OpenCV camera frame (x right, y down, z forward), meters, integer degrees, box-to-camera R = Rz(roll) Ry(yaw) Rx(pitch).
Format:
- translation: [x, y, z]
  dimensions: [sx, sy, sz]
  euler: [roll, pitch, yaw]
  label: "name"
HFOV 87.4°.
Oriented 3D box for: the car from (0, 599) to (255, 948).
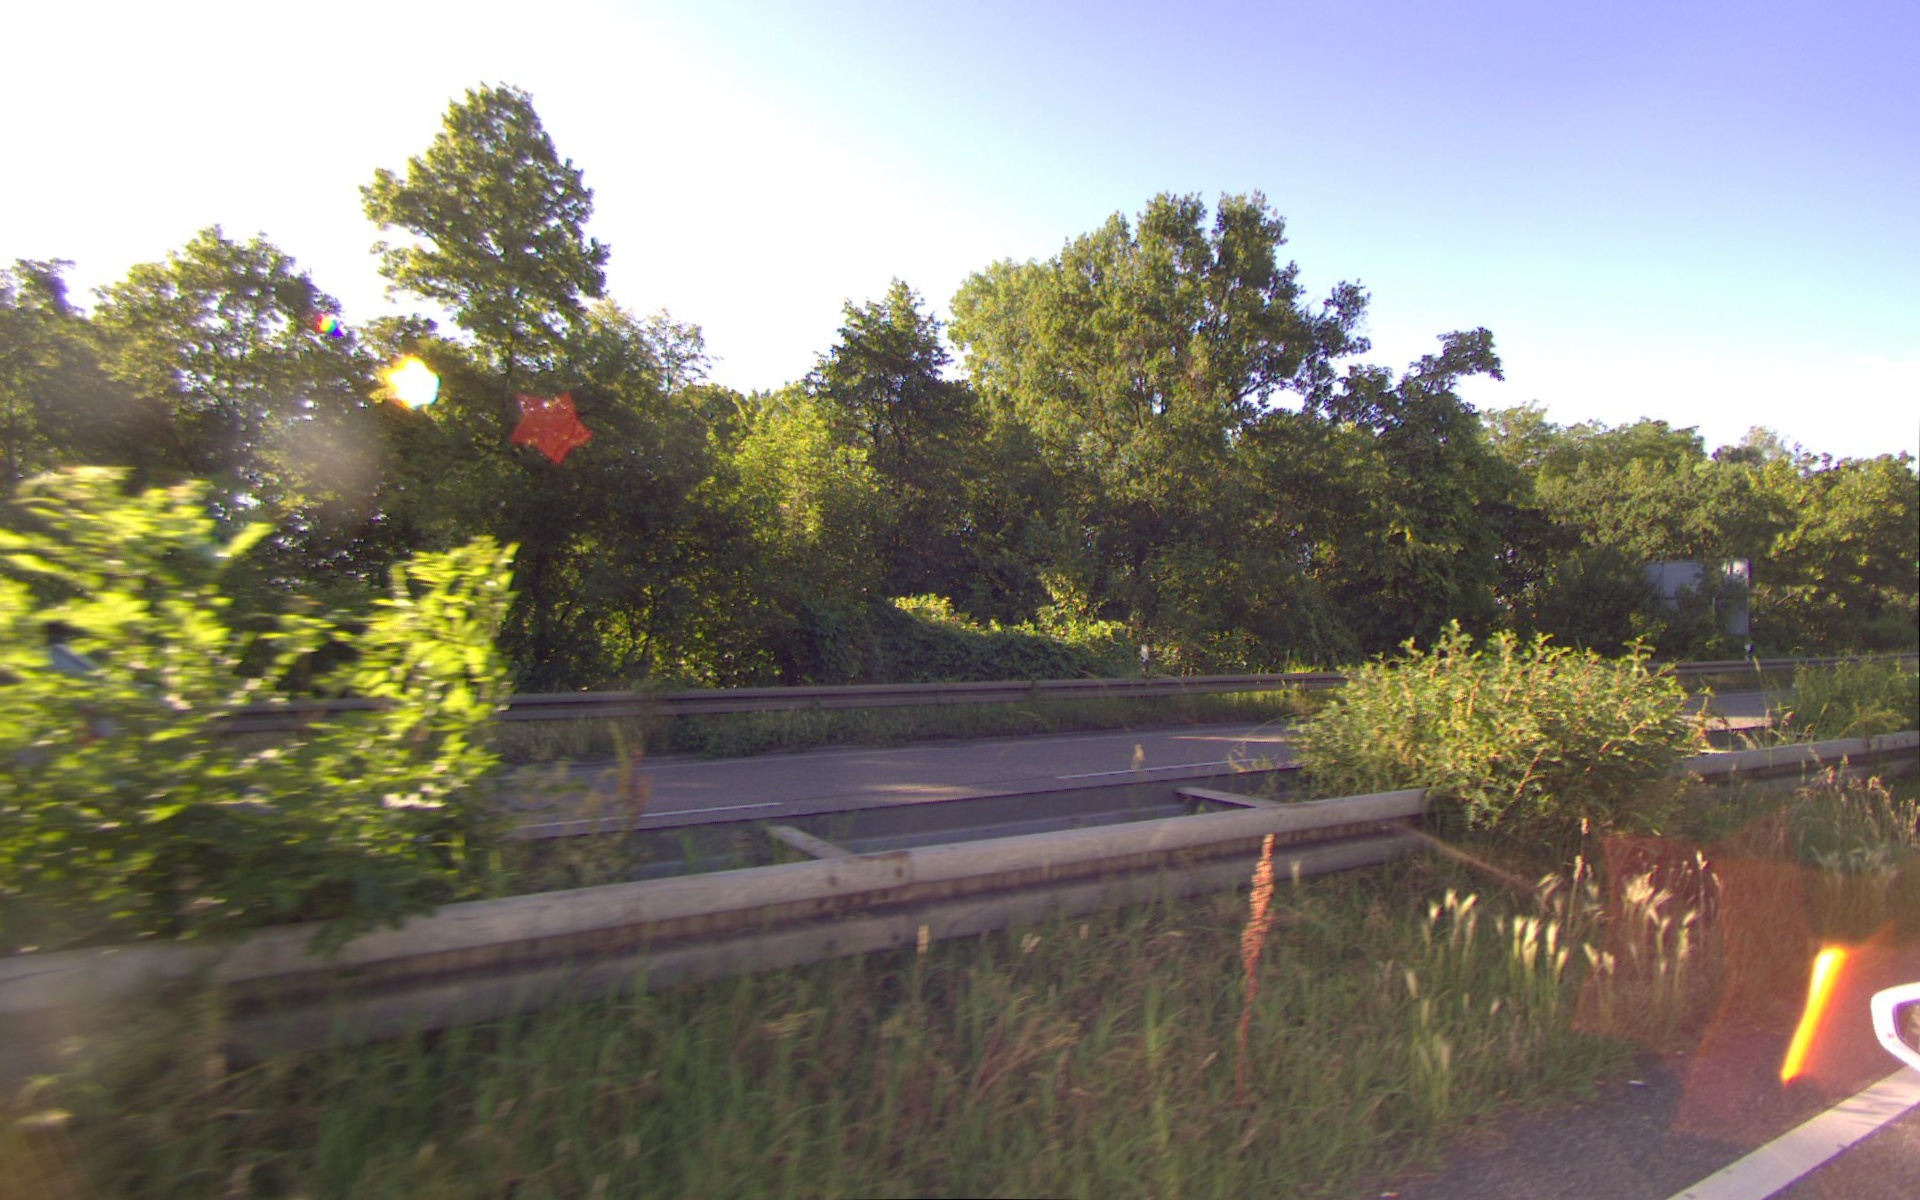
- translation: [-5.914, 0.795, 4.669]
  dimensions: [4.170, 1.590, 1.760]
  euler: [1, -2, -32]
  label: "car"
